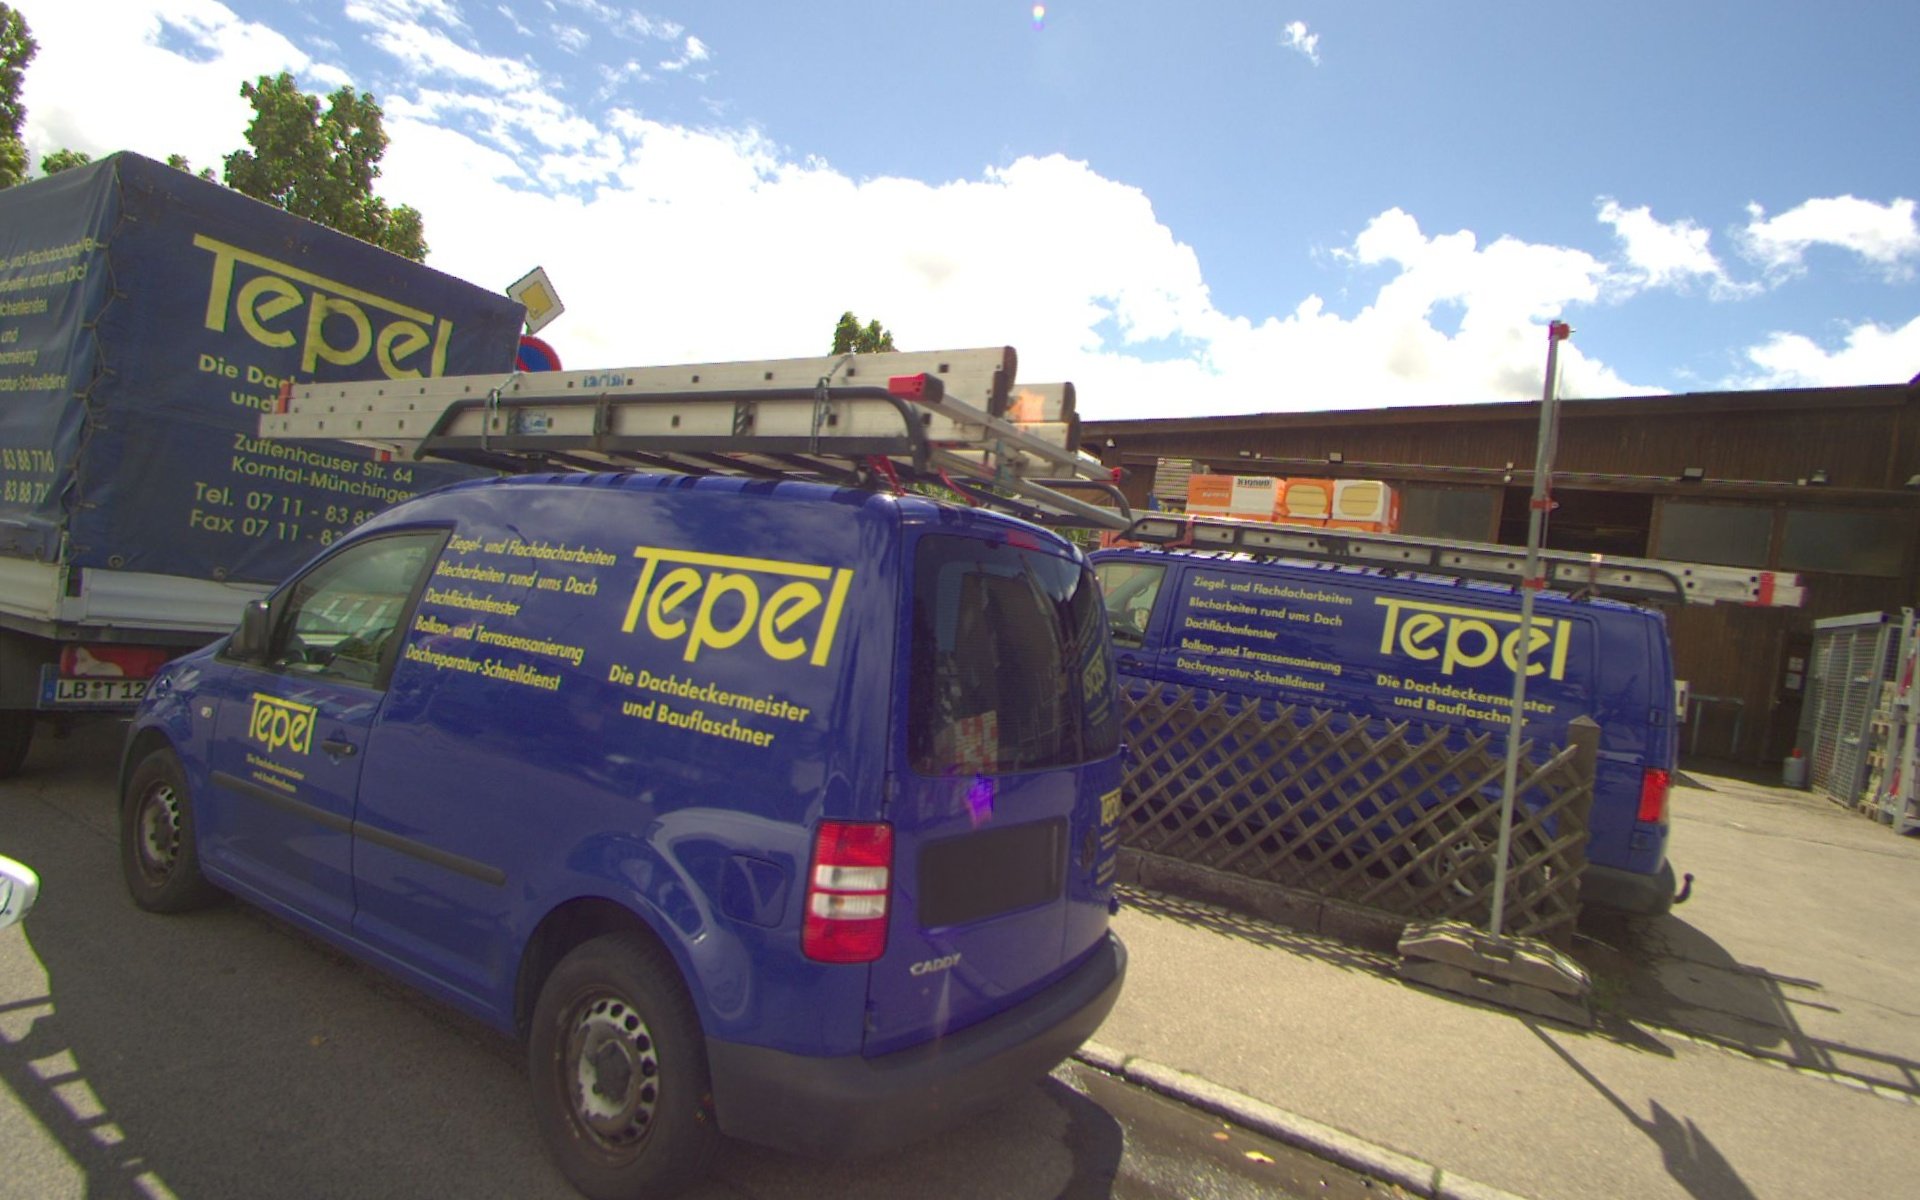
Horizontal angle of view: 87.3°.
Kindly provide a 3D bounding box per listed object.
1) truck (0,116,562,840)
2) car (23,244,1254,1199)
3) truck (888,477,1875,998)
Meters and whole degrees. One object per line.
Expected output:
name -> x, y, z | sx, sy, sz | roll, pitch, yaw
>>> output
truck -> -5.804, -0.726, 6.870 | 5.942, 3.133, 2.325 | 7, -1, 32
car -> -1.448, 0.278, 3.859 | 4.390, 2.194, 1.877 | 7, -1, 32
truck -> 2.293, 0.513, 6.839 | 5.294, 2.111, 1.829 | 9, 4, 30
